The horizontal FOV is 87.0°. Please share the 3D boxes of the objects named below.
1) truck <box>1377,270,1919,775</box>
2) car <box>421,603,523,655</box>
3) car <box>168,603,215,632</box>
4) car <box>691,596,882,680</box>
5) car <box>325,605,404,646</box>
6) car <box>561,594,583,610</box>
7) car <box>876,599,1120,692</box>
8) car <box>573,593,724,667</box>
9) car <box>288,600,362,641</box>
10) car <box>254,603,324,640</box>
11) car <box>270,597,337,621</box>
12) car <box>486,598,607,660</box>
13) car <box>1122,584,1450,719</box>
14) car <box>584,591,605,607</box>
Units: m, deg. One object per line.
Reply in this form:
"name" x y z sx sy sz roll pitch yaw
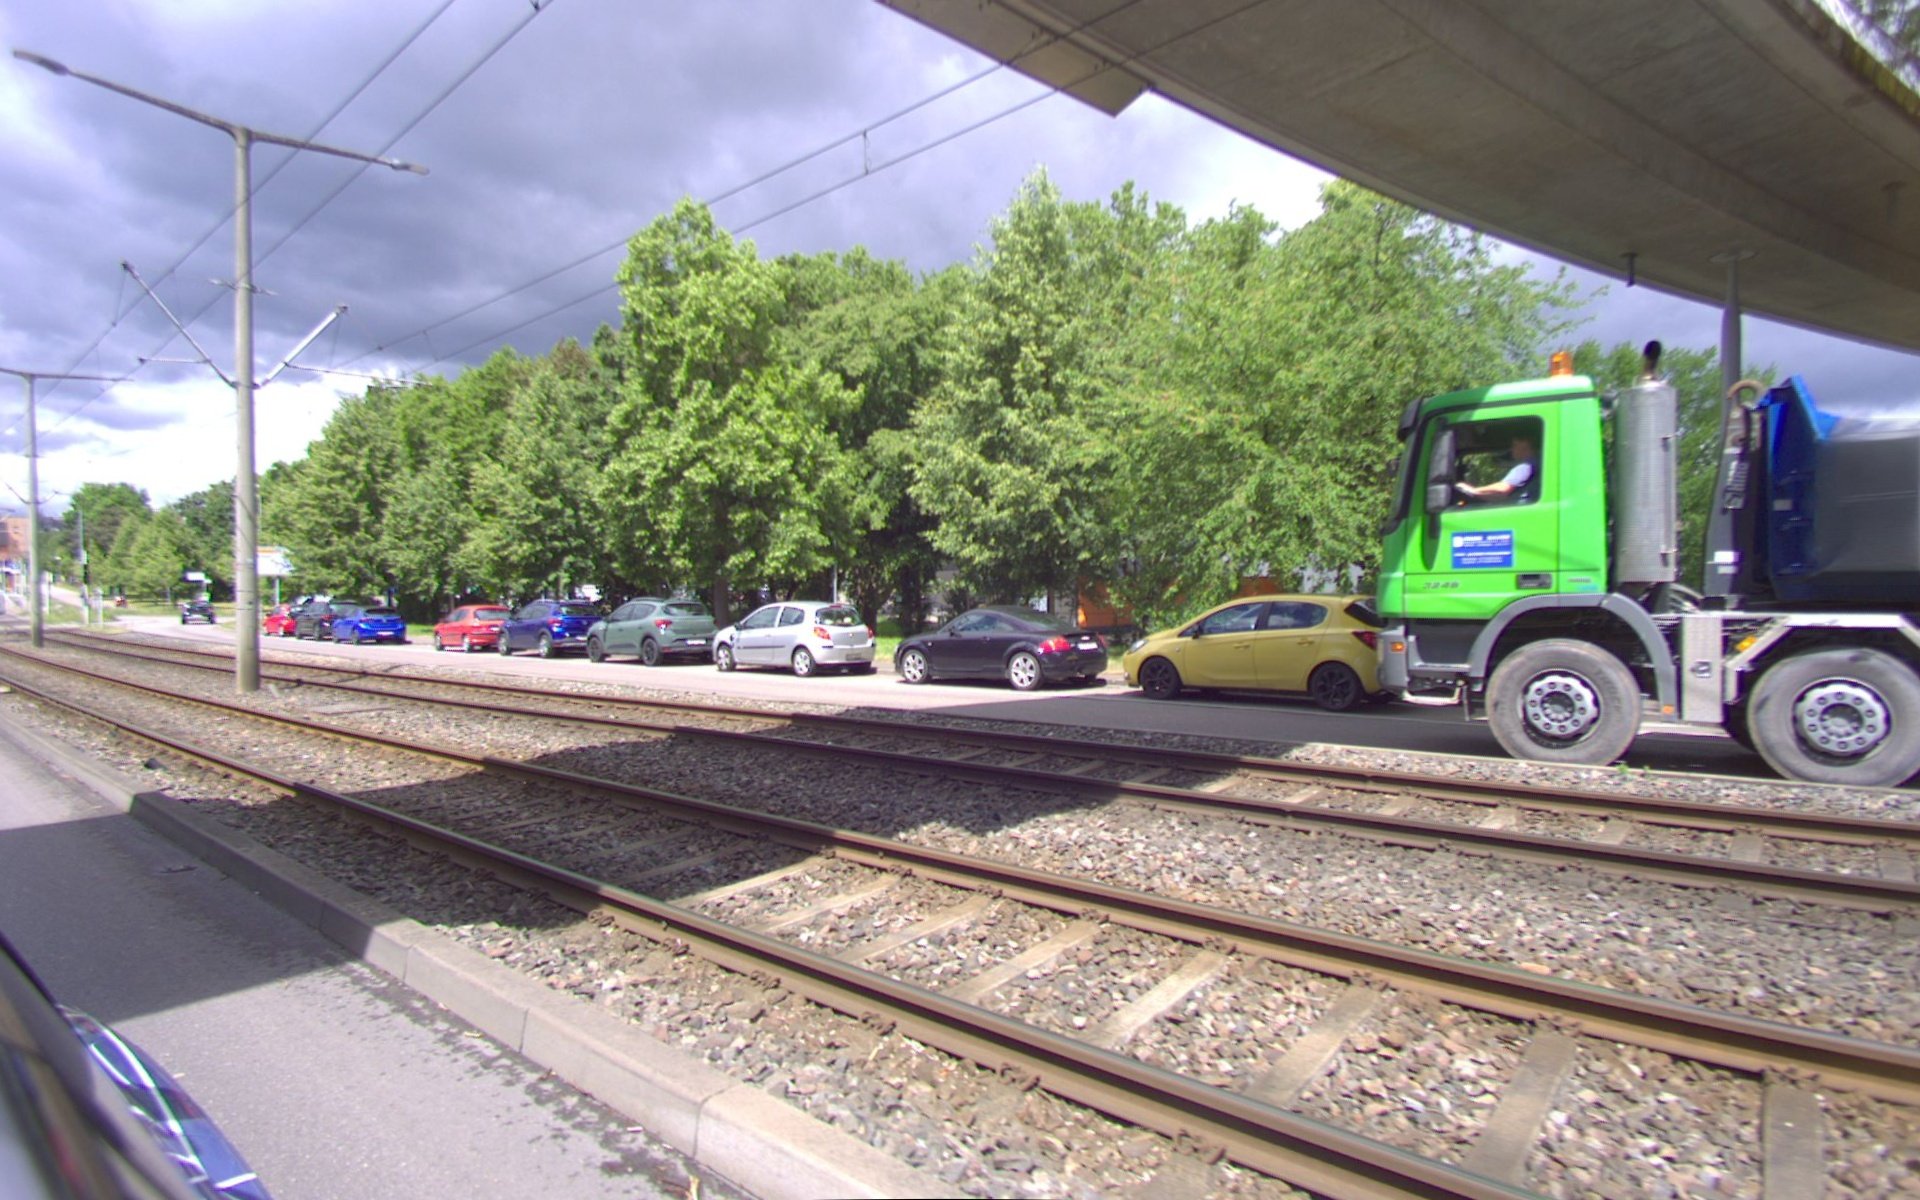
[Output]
"truck" 8.052 -0.573 7.365 8.995 3.344 2.852 0 3 30
"car" -15.365 0.884 31.791 4.049 1.505 1.595 -1 0 44
"car" -47.980 1.042 63.133 4.000 1.585 1.596 1 3 42
"car" -3.656 0.721 20.900 4.190 1.505 1.577 -1 2 41
"car" -22.635 0.928 38.418 4.009 1.472 1.595 0 -1 45
"car" -39.219 0.160 102.341 1.728 1.430 4.012 -1 3 -16
"car" 0.529 0.699 16.966 4.128 1.370 1.494 -1 -1 43
"car" -7.593 0.755 24.483 4.125 1.635 1.624 -2 -4 43
"car" -26.412 0.818 42.033 4.375 1.617 1.563 -1 -1 43
"car" -30.580 0.962 46.084 3.658 1.462 1.597 2 3 39
"car" -53.075 0.716 81.903 1.732 1.702 4.315 0 3 25
"car" -11.594 0.780 28.242 4.160 1.608 1.540 -1 -1 43
"car" 4.298 0.569 13.701 3.899 1.461 1.671 2 4 43
"car" -37.023 -0.081 102.477 1.728 1.430 4.012 -1 3 -16
